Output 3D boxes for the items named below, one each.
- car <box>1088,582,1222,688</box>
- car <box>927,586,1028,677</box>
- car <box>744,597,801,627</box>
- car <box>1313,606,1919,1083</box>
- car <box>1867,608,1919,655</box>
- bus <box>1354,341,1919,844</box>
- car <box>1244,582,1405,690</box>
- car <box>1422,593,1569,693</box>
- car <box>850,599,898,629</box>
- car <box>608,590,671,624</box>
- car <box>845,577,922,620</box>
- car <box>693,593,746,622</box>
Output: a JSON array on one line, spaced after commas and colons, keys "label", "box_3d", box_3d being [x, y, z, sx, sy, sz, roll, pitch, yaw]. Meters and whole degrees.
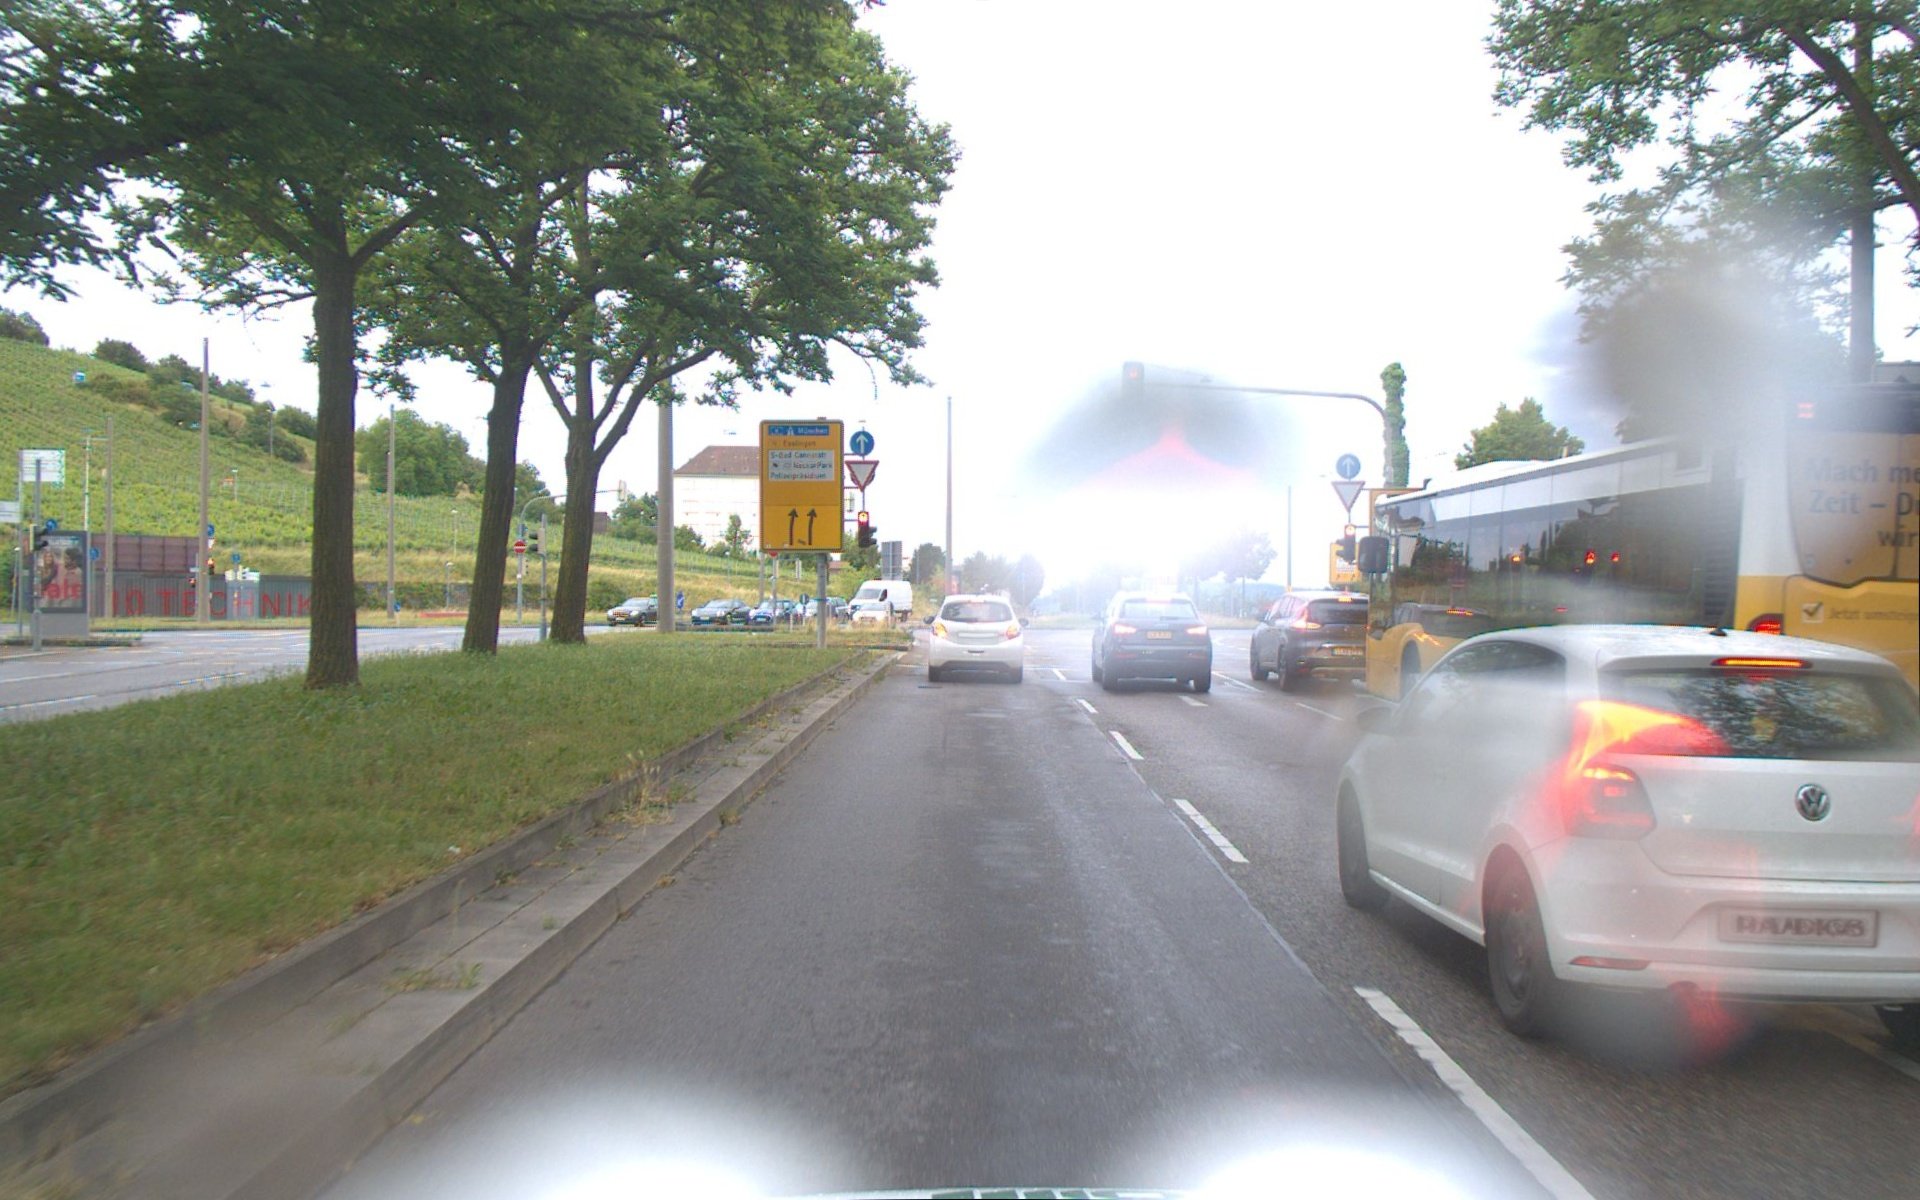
[{"label": "car", "box_3d": [3.255, 0.565, 28.326, 1.845, 1.623, 4.114, 2, 0, 1]}, {"label": "car", "box_3d": [0.329, 0.532, 29.956, 1.682, 1.515, 4.000, 1, 0, 1]}, {"label": "car", "box_3d": [-9.498, 0.617, 84.234, 1.748, 1.420, 3.885, 1, -1, 11]}, {"label": "car", "box_3d": [2.806, 0.785, 7.096, 1.705, 1.457, 3.811, 2, 0, 0]}, {"label": "car", "box_3d": [32.755, 1.111, 55.037, 4.436, 1.495, 2.159, 2, 0, 28]}, {"label": "bus", "box_3d": [6.658, -0.109, 16.717, 2.670, 3.207, 12.148, 2, 1, 1]}, {"label": "car", "box_3d": [6.334, 0.554, 29.213, 1.827, 1.703, 4.566, 1, 1, 0]}, {"label": "car", "box_3d": [9.097, 0.715, 27.877, 1.828, 1.524, 4.148, -2, -2, 25]}, {"label": "car", "box_3d": [-4.382, 0.718, 84.912, 1.738, 1.450, 4.377, 0, 0, 6]}, {"label": "car", "box_3d": [-16.390, 0.371, 84.703, 1.790, 1.652, 4.569, 2, 0, 7]}, {"label": "car", "box_3d": [-4.929, -0.053, 107.824, 1.957, 2.604, 6.157, 2, 0, 30]}, {"label": "car", "box_3d": [-12.520, 0.394, 86.253, 1.748, 1.420, 3.884, 1, -1, 7]}]
